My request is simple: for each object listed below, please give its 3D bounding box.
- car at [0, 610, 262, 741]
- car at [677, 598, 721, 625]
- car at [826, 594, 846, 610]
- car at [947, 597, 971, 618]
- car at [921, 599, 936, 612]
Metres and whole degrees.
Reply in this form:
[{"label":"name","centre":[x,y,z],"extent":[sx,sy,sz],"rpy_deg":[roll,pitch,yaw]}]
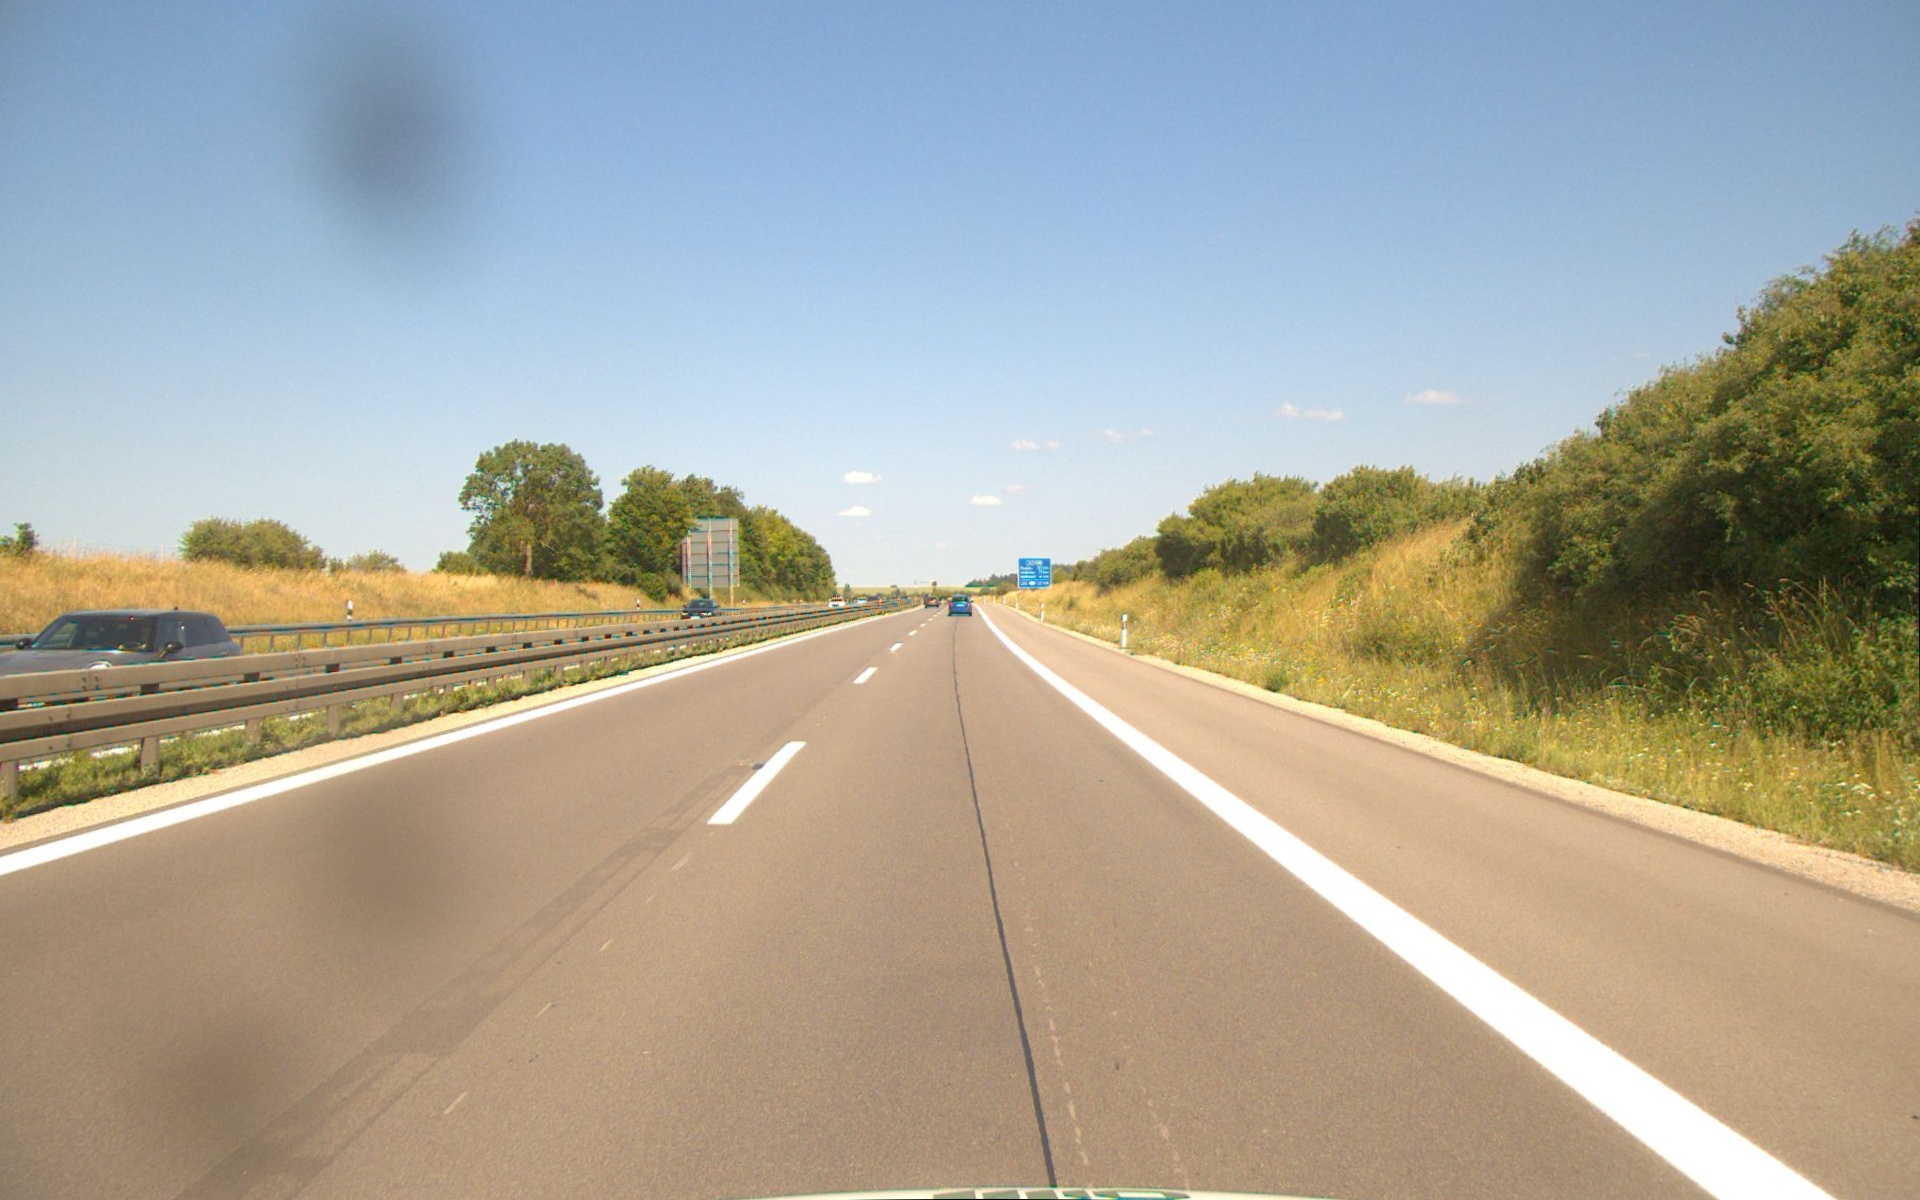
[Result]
[{"label":"car","centre":[-10.312,0.867,20.660],"extent":[1.553,1.456,3.926],"rpy_deg":[0,0,-1]},{"label":"car","centre":[-14.872,0.633,94.539],"extent":[1.689,1.493,5.241],"rpy_deg":[0,0,0]},{"label":"car","centre":[-14.563,0.233,194.700],"extent":[1.905,1.877,5.184],"rpy_deg":[-1,0,0]},{"label":"car","centre":[-0.052,0.555,120.267],"extent":[1.641,1.478,3.592],"rpy_deg":[-2,0,1]},{"label":"car","centre":[-3.918,0.666,206.328],"extent":[1.791,1.478,3.592],"rpy_deg":[-2,0,1]}]
